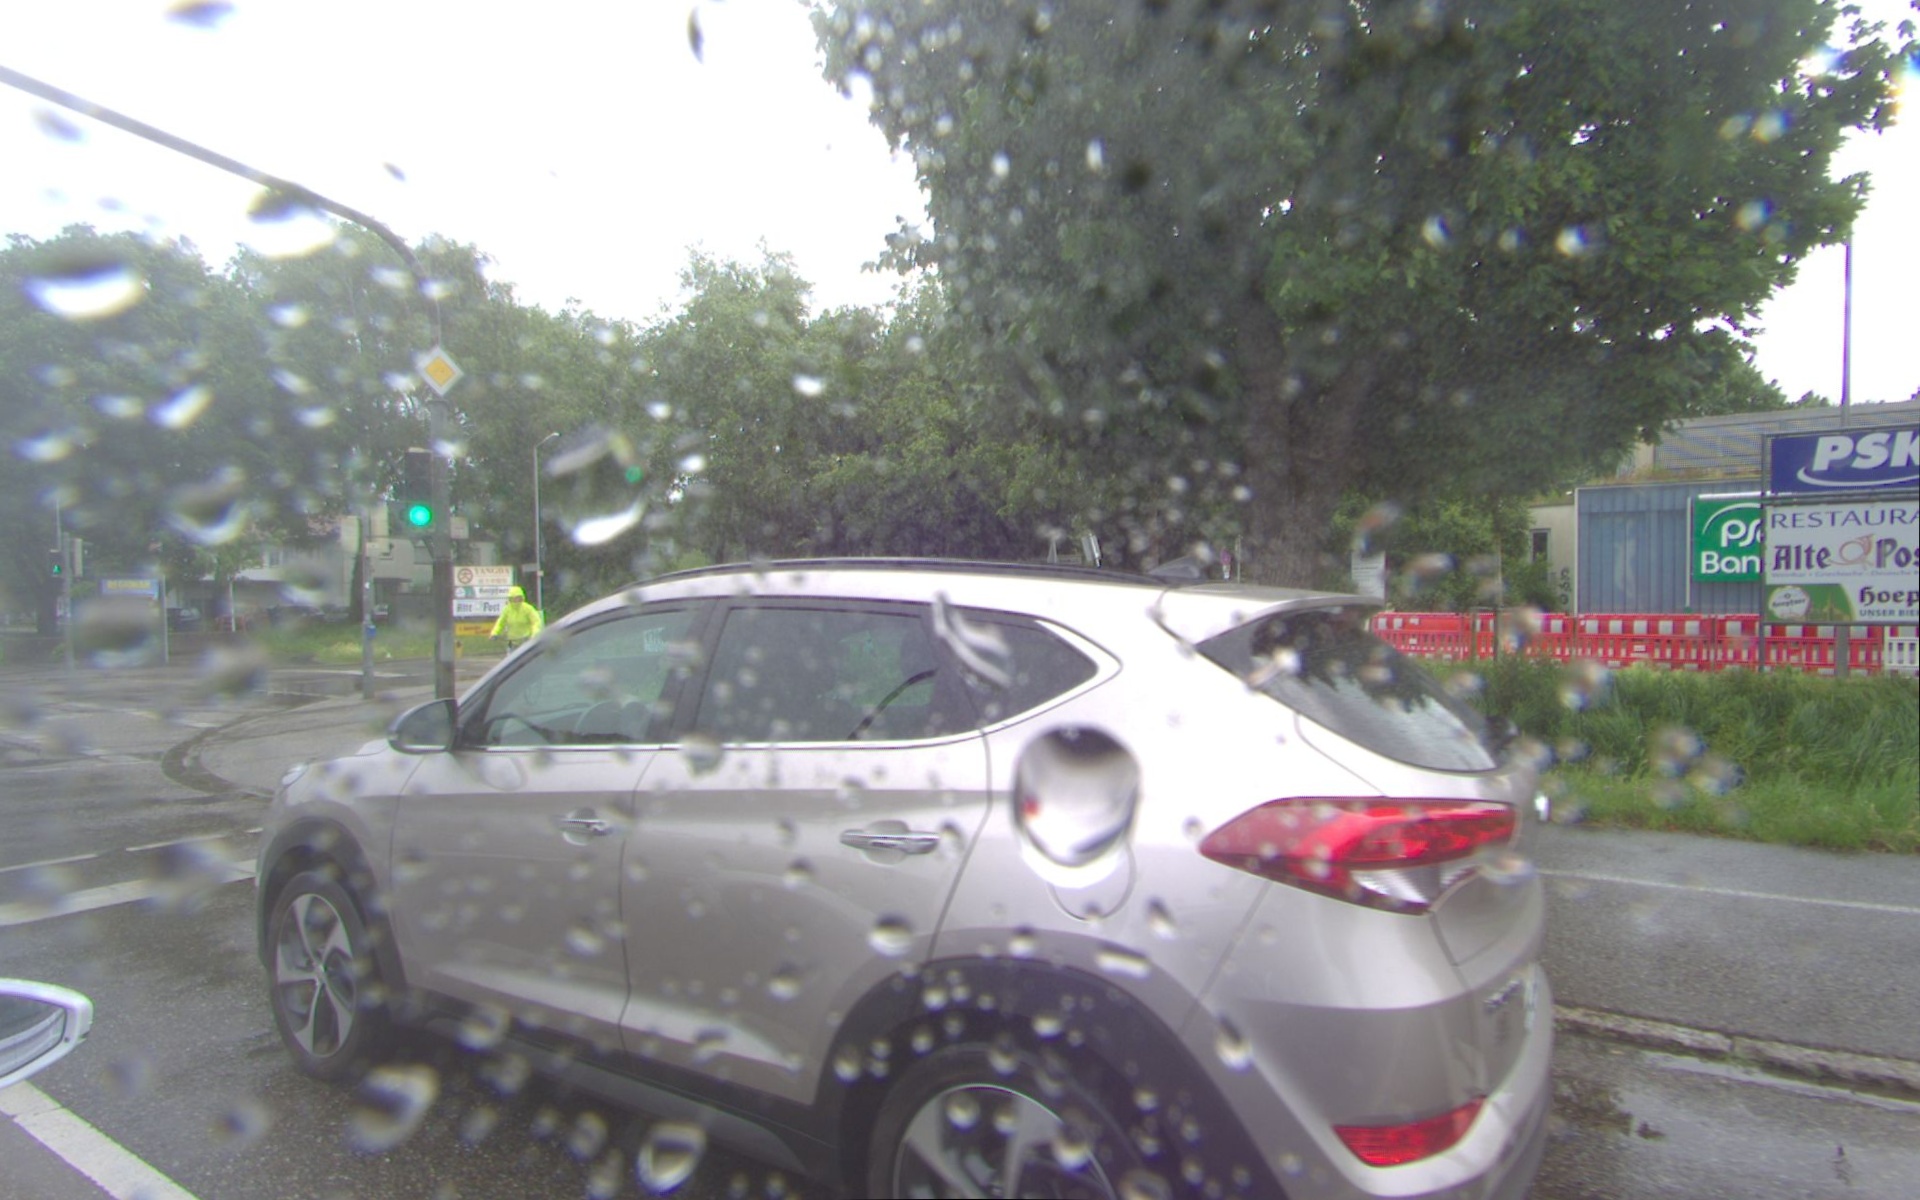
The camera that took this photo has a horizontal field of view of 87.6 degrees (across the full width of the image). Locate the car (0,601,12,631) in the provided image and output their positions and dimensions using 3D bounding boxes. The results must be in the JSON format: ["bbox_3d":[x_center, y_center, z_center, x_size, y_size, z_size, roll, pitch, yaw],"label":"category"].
[{"bbox_3d":[-58.760,0.974,59.655,4.805,1.740,1.990,-1,1,30],"label":"car"}]

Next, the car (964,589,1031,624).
[{"bbox_3d":[1.920,0.366,49.942,1.697,1.617,3.649,-1,-2,34],"label":"car"}]

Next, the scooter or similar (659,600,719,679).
[{"bbox_3d":[-4.414,0.630,16.342,0.317,1.246,0.954,0,1,36],"label":"scooter or similar"}]

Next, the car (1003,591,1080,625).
[{"bbox_3d":[3.985,0.417,48.308,1.900,1.508,4.171,-1,-2,34],"label":"car"}]

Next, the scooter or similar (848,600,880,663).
[{"bbox_3d":[-1.842,0.601,19.242,0.553,1.192,0.284,0,1,39],"label":"scooter or similar"}]

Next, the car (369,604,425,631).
[{"bbox_3d":[-30.939,0.992,55.129,1.573,1.467,3.751,0,-2,-11],"label":"car"}]

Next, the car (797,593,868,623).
[{"bbox_3d":[-7.075,0.487,56.210,1.894,1.604,4.590,-1,-2,23],"label":"car"}]

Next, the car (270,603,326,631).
[{"bbox_3d":[-35.758,0.966,54.194,1.641,1.467,3.744,0,-2,-19],"label":"car"}]

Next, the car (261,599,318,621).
[{"bbox_3d":[-43.501,0.661,64.969,3.645,1.333,1.571,-1,-1,29],"label":"car"}]

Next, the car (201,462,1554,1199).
[{"bbox_3d":[-0.508,0.698,3.273,4.137,1.631,1.880,-2,-1,33],"label":"car"}]

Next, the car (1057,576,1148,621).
[{"bbox_3d":[6.711,-0.009,47.056,4.145,1.990,1.912,1,-2,-37],"label":"car"}]

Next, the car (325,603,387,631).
[{"bbox_3d":[-32.950,0.981,54.734,1.638,1.467,3.751,0,-2,-11],"label":"car"}]

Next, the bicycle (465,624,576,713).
[{"bbox_3d":[-6.250,0.947,14.345,0.774,1.053,1.663,-2,3,1],"label":"bicycle"}]

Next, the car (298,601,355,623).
[{"bbox_3d":[-42.504,0.828,67.146,3.940,1.403,1.582,-1,-2,29],"label":"car"}]

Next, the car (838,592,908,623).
[{"bbox_3d":[-4.709,0.438,54.756,1.894,1.604,4.590,-1,-2,23],"label":"car"}]

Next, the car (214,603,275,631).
[{"bbox_3d":[-38.002,0.938,53.260,1.641,1.467,3.744,0,-2,-19],"label":"car"}]

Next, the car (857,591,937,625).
[{"bbox_3d":[-3.239,0.460,52.506,1.898,1.651,4.579,-1,-2,31],"label":"car"}]

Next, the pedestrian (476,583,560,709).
[{"bbox_3d":[-6.260,0.639,14.213,0.774,1.702,0.668,-2,4,1],"label":"pedestrian"}]
